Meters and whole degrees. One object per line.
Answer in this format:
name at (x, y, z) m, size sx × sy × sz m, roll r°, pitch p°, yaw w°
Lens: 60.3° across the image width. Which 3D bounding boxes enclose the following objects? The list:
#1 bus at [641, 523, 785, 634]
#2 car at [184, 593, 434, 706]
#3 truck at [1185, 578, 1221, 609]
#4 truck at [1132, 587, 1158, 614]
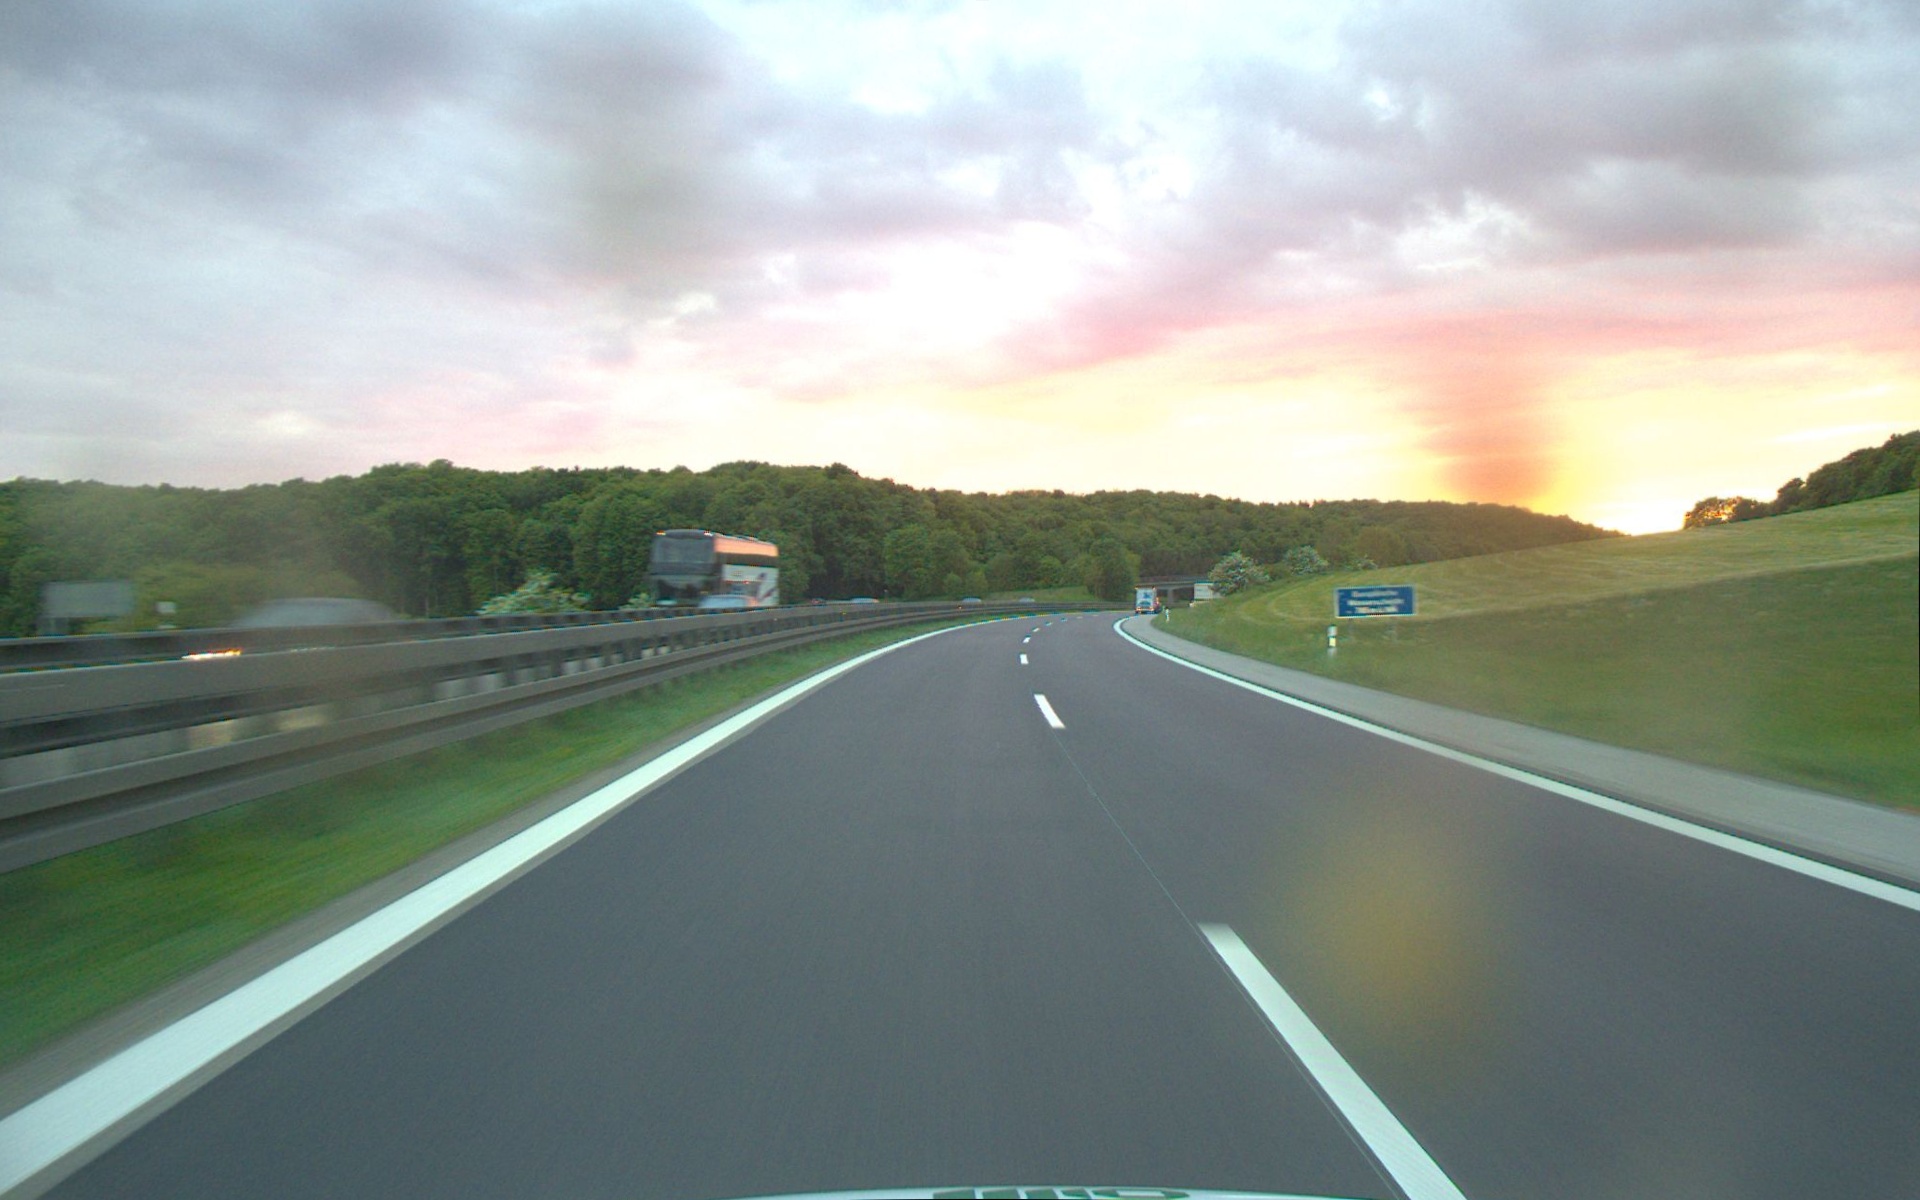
bus at (-10.064, -0.768, 69.670) m, size 3.100 × 4.147 × 14.815 m, roll 1°, pitch 0°, yaw 3°
car at (-9.963, 0.699, 25.768) m, size 1.876 × 1.536 × 4.731 m, roll -2°, pitch 0°, yaw 2°
truck at (36.060, -0.915, 245.148) m, size 3.873 × 4.362 × 14.334 m, roll 0°, pitch -1°, yaw 14°
truck at (19.648, 0.012, 175.497) m, size 2.227 × 2.711 × 5.241 m, roll -2°, pitch 0°, yaw 12°
